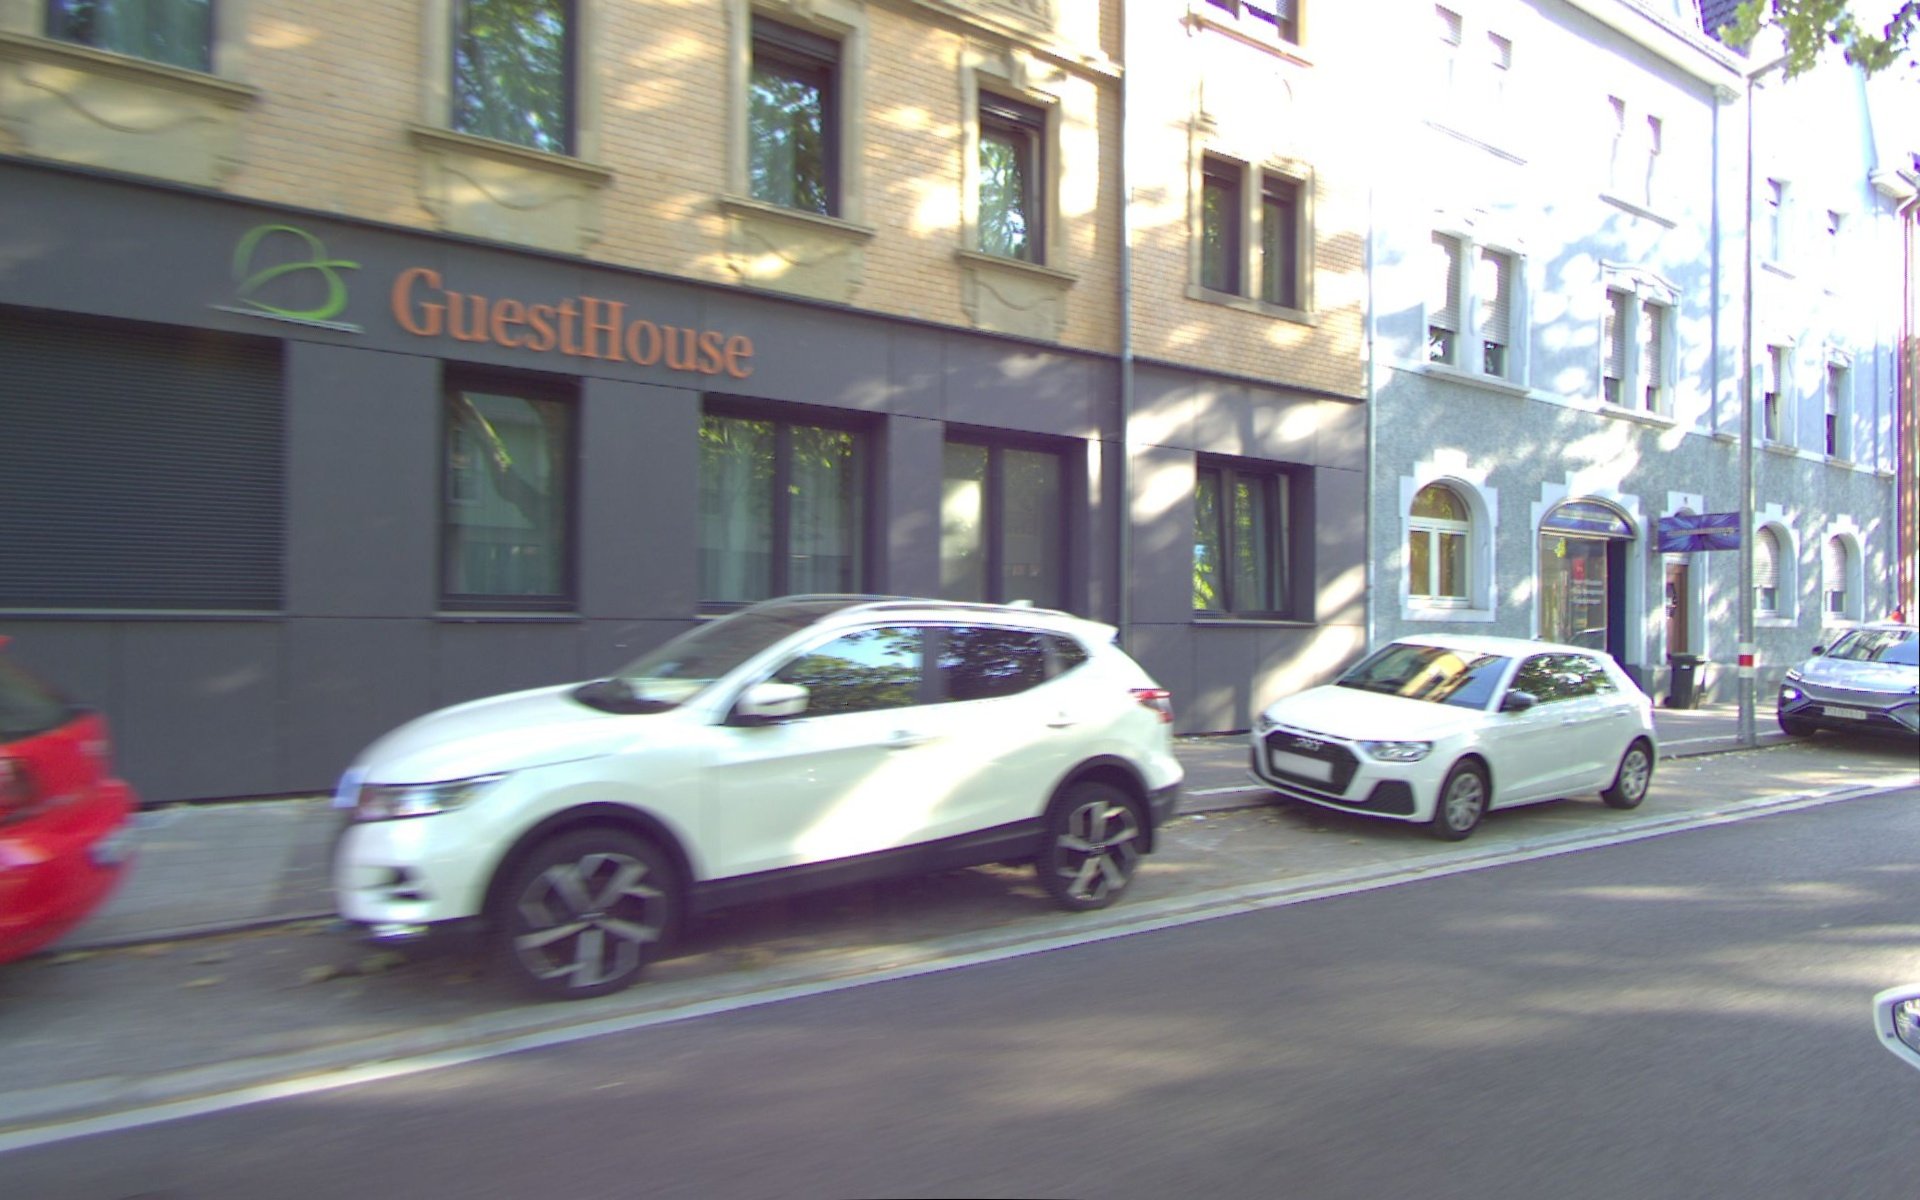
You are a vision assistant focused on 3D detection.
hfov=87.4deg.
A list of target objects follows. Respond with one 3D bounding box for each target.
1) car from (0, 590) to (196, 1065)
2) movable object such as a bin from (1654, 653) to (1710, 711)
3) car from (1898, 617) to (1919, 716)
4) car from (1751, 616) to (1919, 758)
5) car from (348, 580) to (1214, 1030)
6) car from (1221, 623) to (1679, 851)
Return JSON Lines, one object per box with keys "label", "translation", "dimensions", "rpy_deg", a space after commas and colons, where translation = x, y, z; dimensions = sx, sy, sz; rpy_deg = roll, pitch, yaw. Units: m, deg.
{"label": "car", "translation": [-5.039, 0.752, 3.374], "dimensions": [3.712, 1.613, 1.670], "rpy_deg": [1, 0, -30]}
{"label": "movable object such as a bin", "translation": [12.429, 1.407, 17.303], "dimensions": [0.662, 0.959, 0.554], "rpy_deg": [1, -2, -30]}
{"label": "car", "translation": [18.077, 1.158, 17.334], "dimensions": [3.937, 1.663, 1.670], "rpy_deg": [1, 0, -30]}
{"label": "car", "translation": [13.205, 1.103, 13.978], "dimensions": [4.523, 1.663, 1.899], "rpy_deg": [1, 0, -30]}
{"label": "car", "translation": [-0.784, 0.755, 5.353], "dimensions": [4.150, 1.606, 1.670], "rpy_deg": [1, 0, -30]}
{"label": "car", "translation": [4.251, 0.990, 8.611], "dimensions": [3.826, 1.516, 1.670], "rpy_deg": [1, 0, -30]}
